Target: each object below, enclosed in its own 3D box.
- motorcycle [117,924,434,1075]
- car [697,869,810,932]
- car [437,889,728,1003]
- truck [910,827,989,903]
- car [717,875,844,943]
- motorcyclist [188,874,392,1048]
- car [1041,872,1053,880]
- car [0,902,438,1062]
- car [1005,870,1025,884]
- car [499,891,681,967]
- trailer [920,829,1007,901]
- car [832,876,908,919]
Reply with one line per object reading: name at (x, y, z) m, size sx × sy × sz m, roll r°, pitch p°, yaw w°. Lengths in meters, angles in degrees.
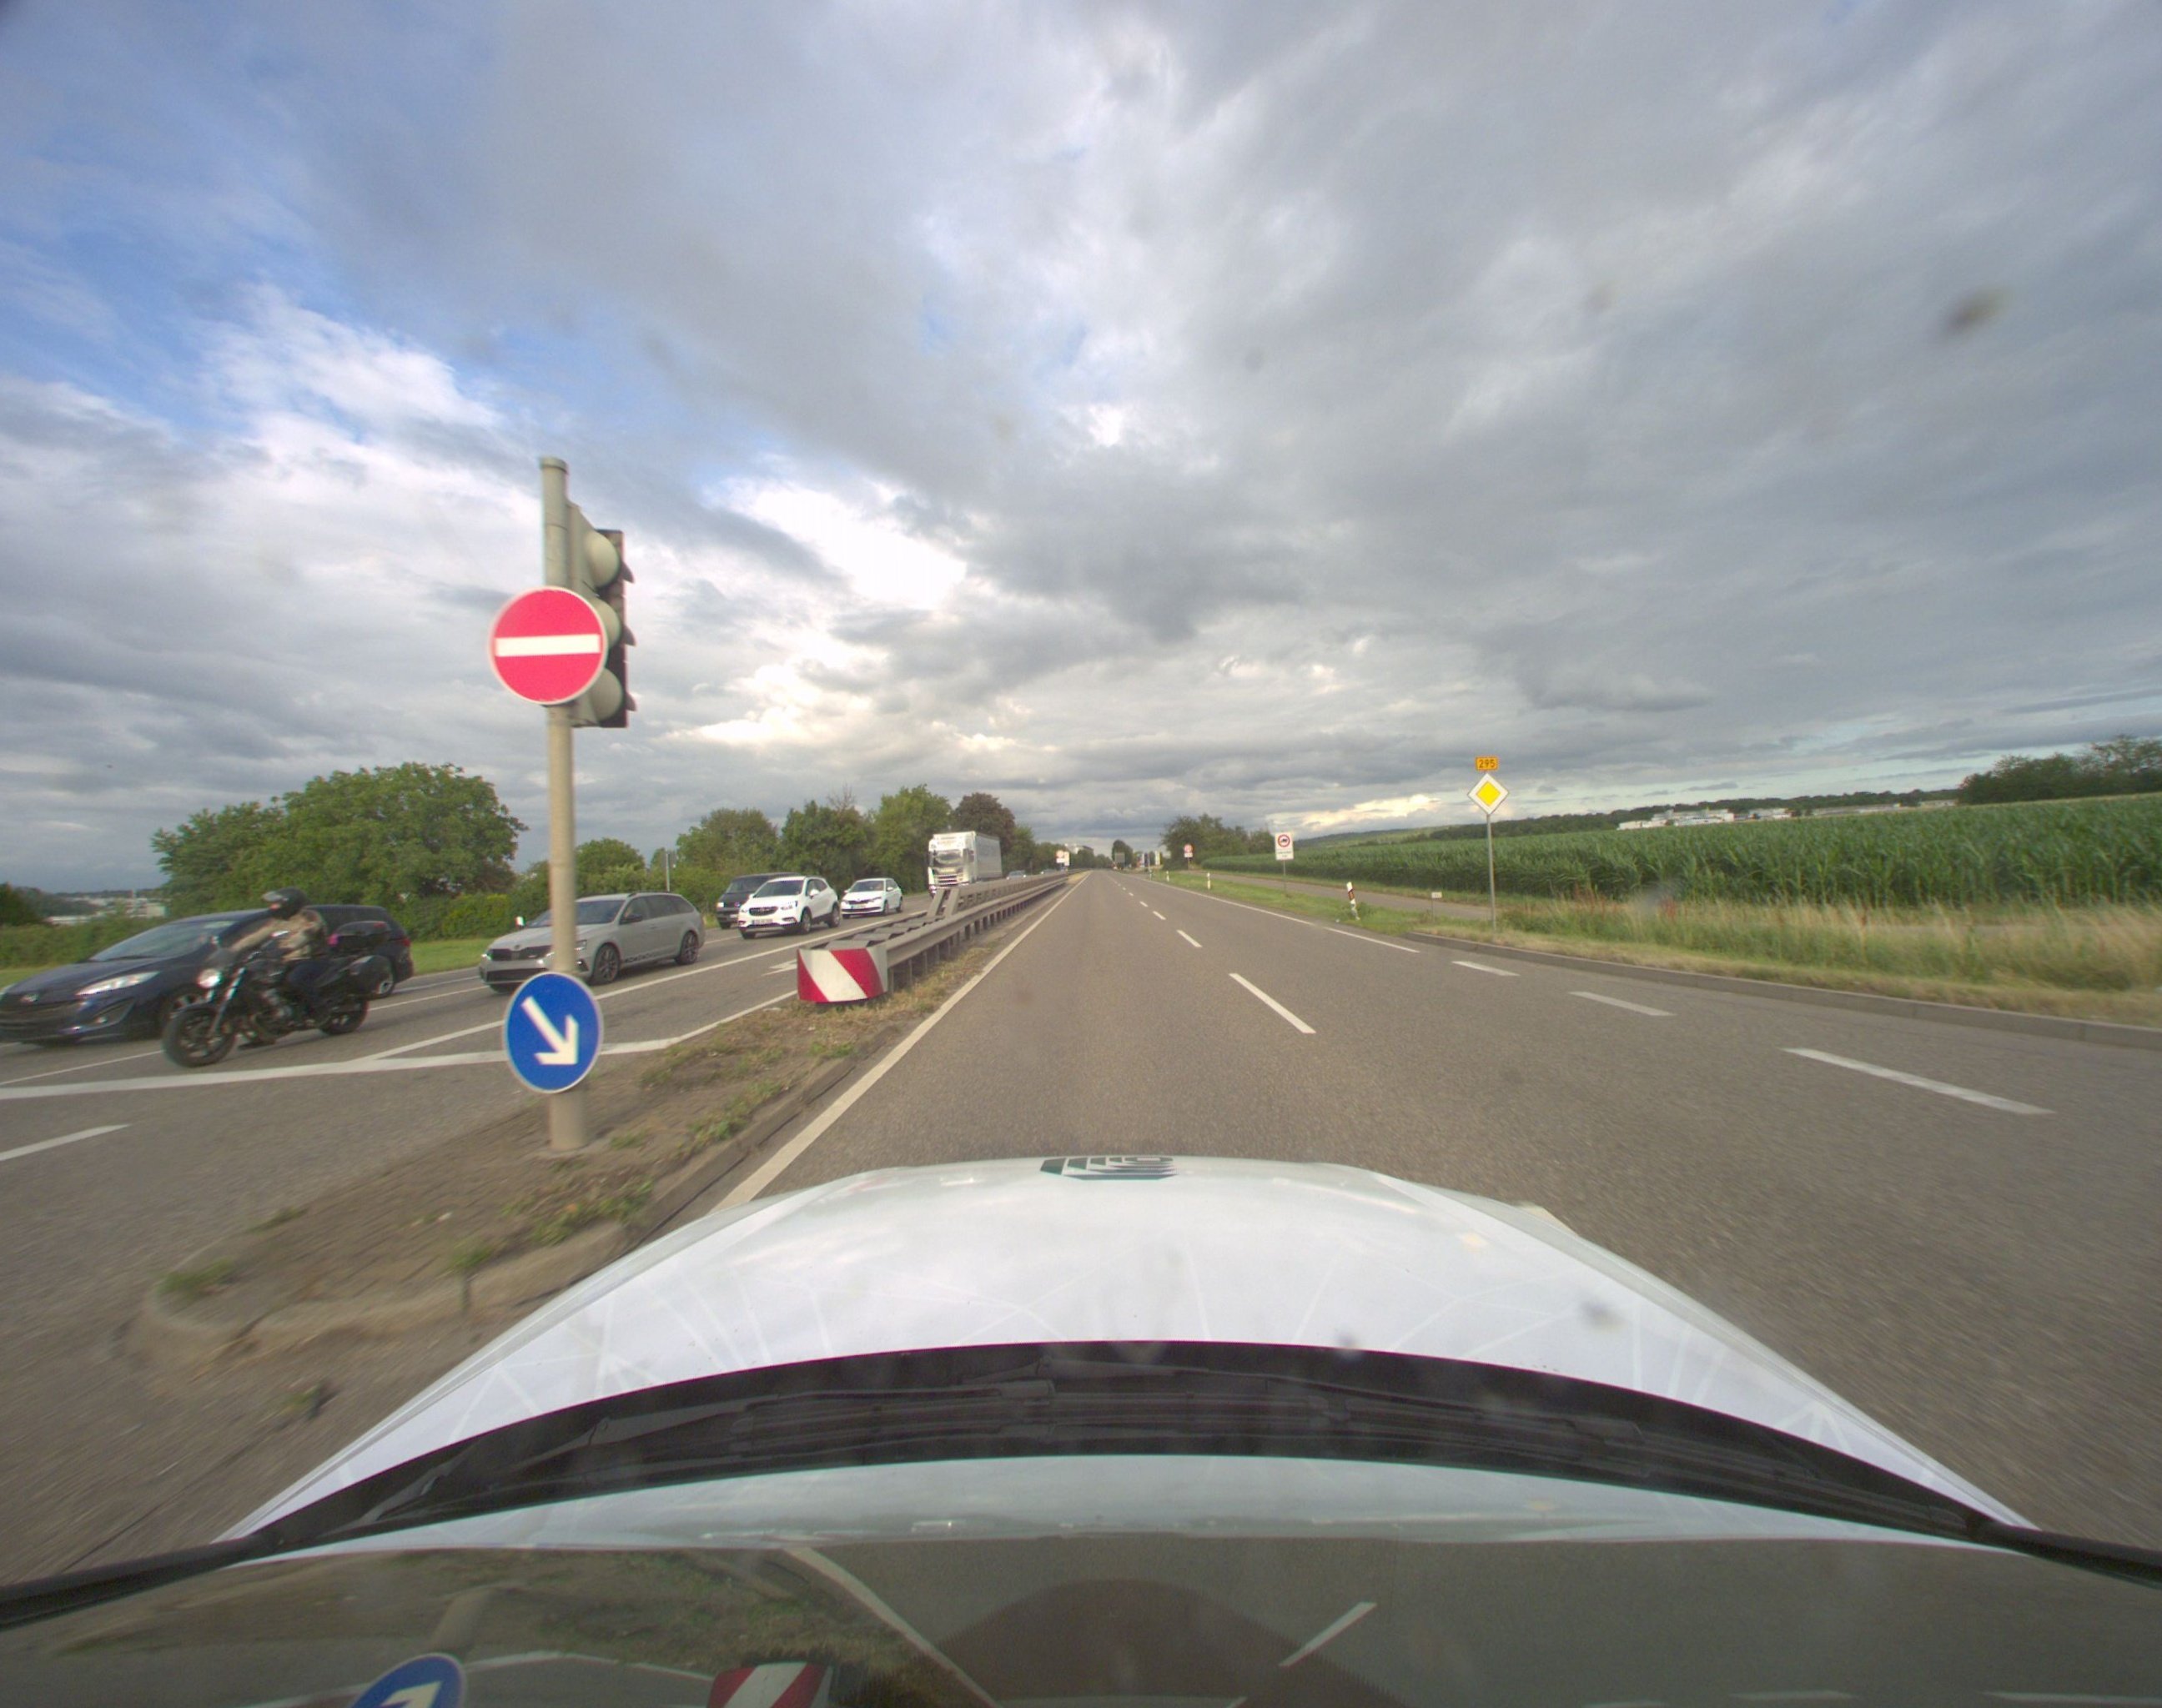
motorcycle at (-8.555, 1.472, 8.890) m, size 0.913 × 1.203 × 2.479 m, roll -4°, pitch -1°, yaw 1°
car at (-12.090, 1.658, 30.488) m, size 1.986 × 2.014 × 4.948 m, roll -4°, pitch -2°, yaw 1°
car at (-8.425, 1.453, 14.511) m, size 1.901 × 1.428 × 5.152 m, roll -3°, pitch -1°, yaw 1°
truck at (-7.889, 0.689, 49.721) m, size 3.463 × 4.150 × 6.050 m, roll -4°, pitch -1°, yaw 1°
car at (-8.484, 1.486, 23.452) m, size 1.901 × 1.610 × 4.405 m, roll -3°, pitch -1°, yaw 1°
motorcyclist at (-8.568, 1.097, 8.898) m, size 0.913 × 1.709 × 1.276 m, roll -4°, pitch -2°, yaw 1°
car at (-6.401, 4.126, 153.889) m, size 1.860 × 1.477 × 4.825 m, roll -3°, pitch -1°, yaw 1°
car at (-12.192, 1.616, 11.682) m, size 1.901 × 1.535 × 4.939 m, roll -3°, pitch -1°, yaw 1°
car at (-7.389, 2.576, 91.761) m, size 1.783 × 1.386 × 4.160 m, roll -3°, pitch -1°, yaw 1°
car at (-12.018, 1.781, 20.318) m, size 1.901 × 1.465 × 4.184 m, roll -3°, pitch -1°, yaw 1°
trailer at (-7.788, 0.785, 56.377) m, size 3.453 × 4.150 × 13.917 m, roll -4°, pitch -1°, yaw 1°
car at (-8.212, 1.674, 32.098) m, size 1.783 × 1.444 × 4.160 m, roll -3°, pitch -1°, yaw 1°
